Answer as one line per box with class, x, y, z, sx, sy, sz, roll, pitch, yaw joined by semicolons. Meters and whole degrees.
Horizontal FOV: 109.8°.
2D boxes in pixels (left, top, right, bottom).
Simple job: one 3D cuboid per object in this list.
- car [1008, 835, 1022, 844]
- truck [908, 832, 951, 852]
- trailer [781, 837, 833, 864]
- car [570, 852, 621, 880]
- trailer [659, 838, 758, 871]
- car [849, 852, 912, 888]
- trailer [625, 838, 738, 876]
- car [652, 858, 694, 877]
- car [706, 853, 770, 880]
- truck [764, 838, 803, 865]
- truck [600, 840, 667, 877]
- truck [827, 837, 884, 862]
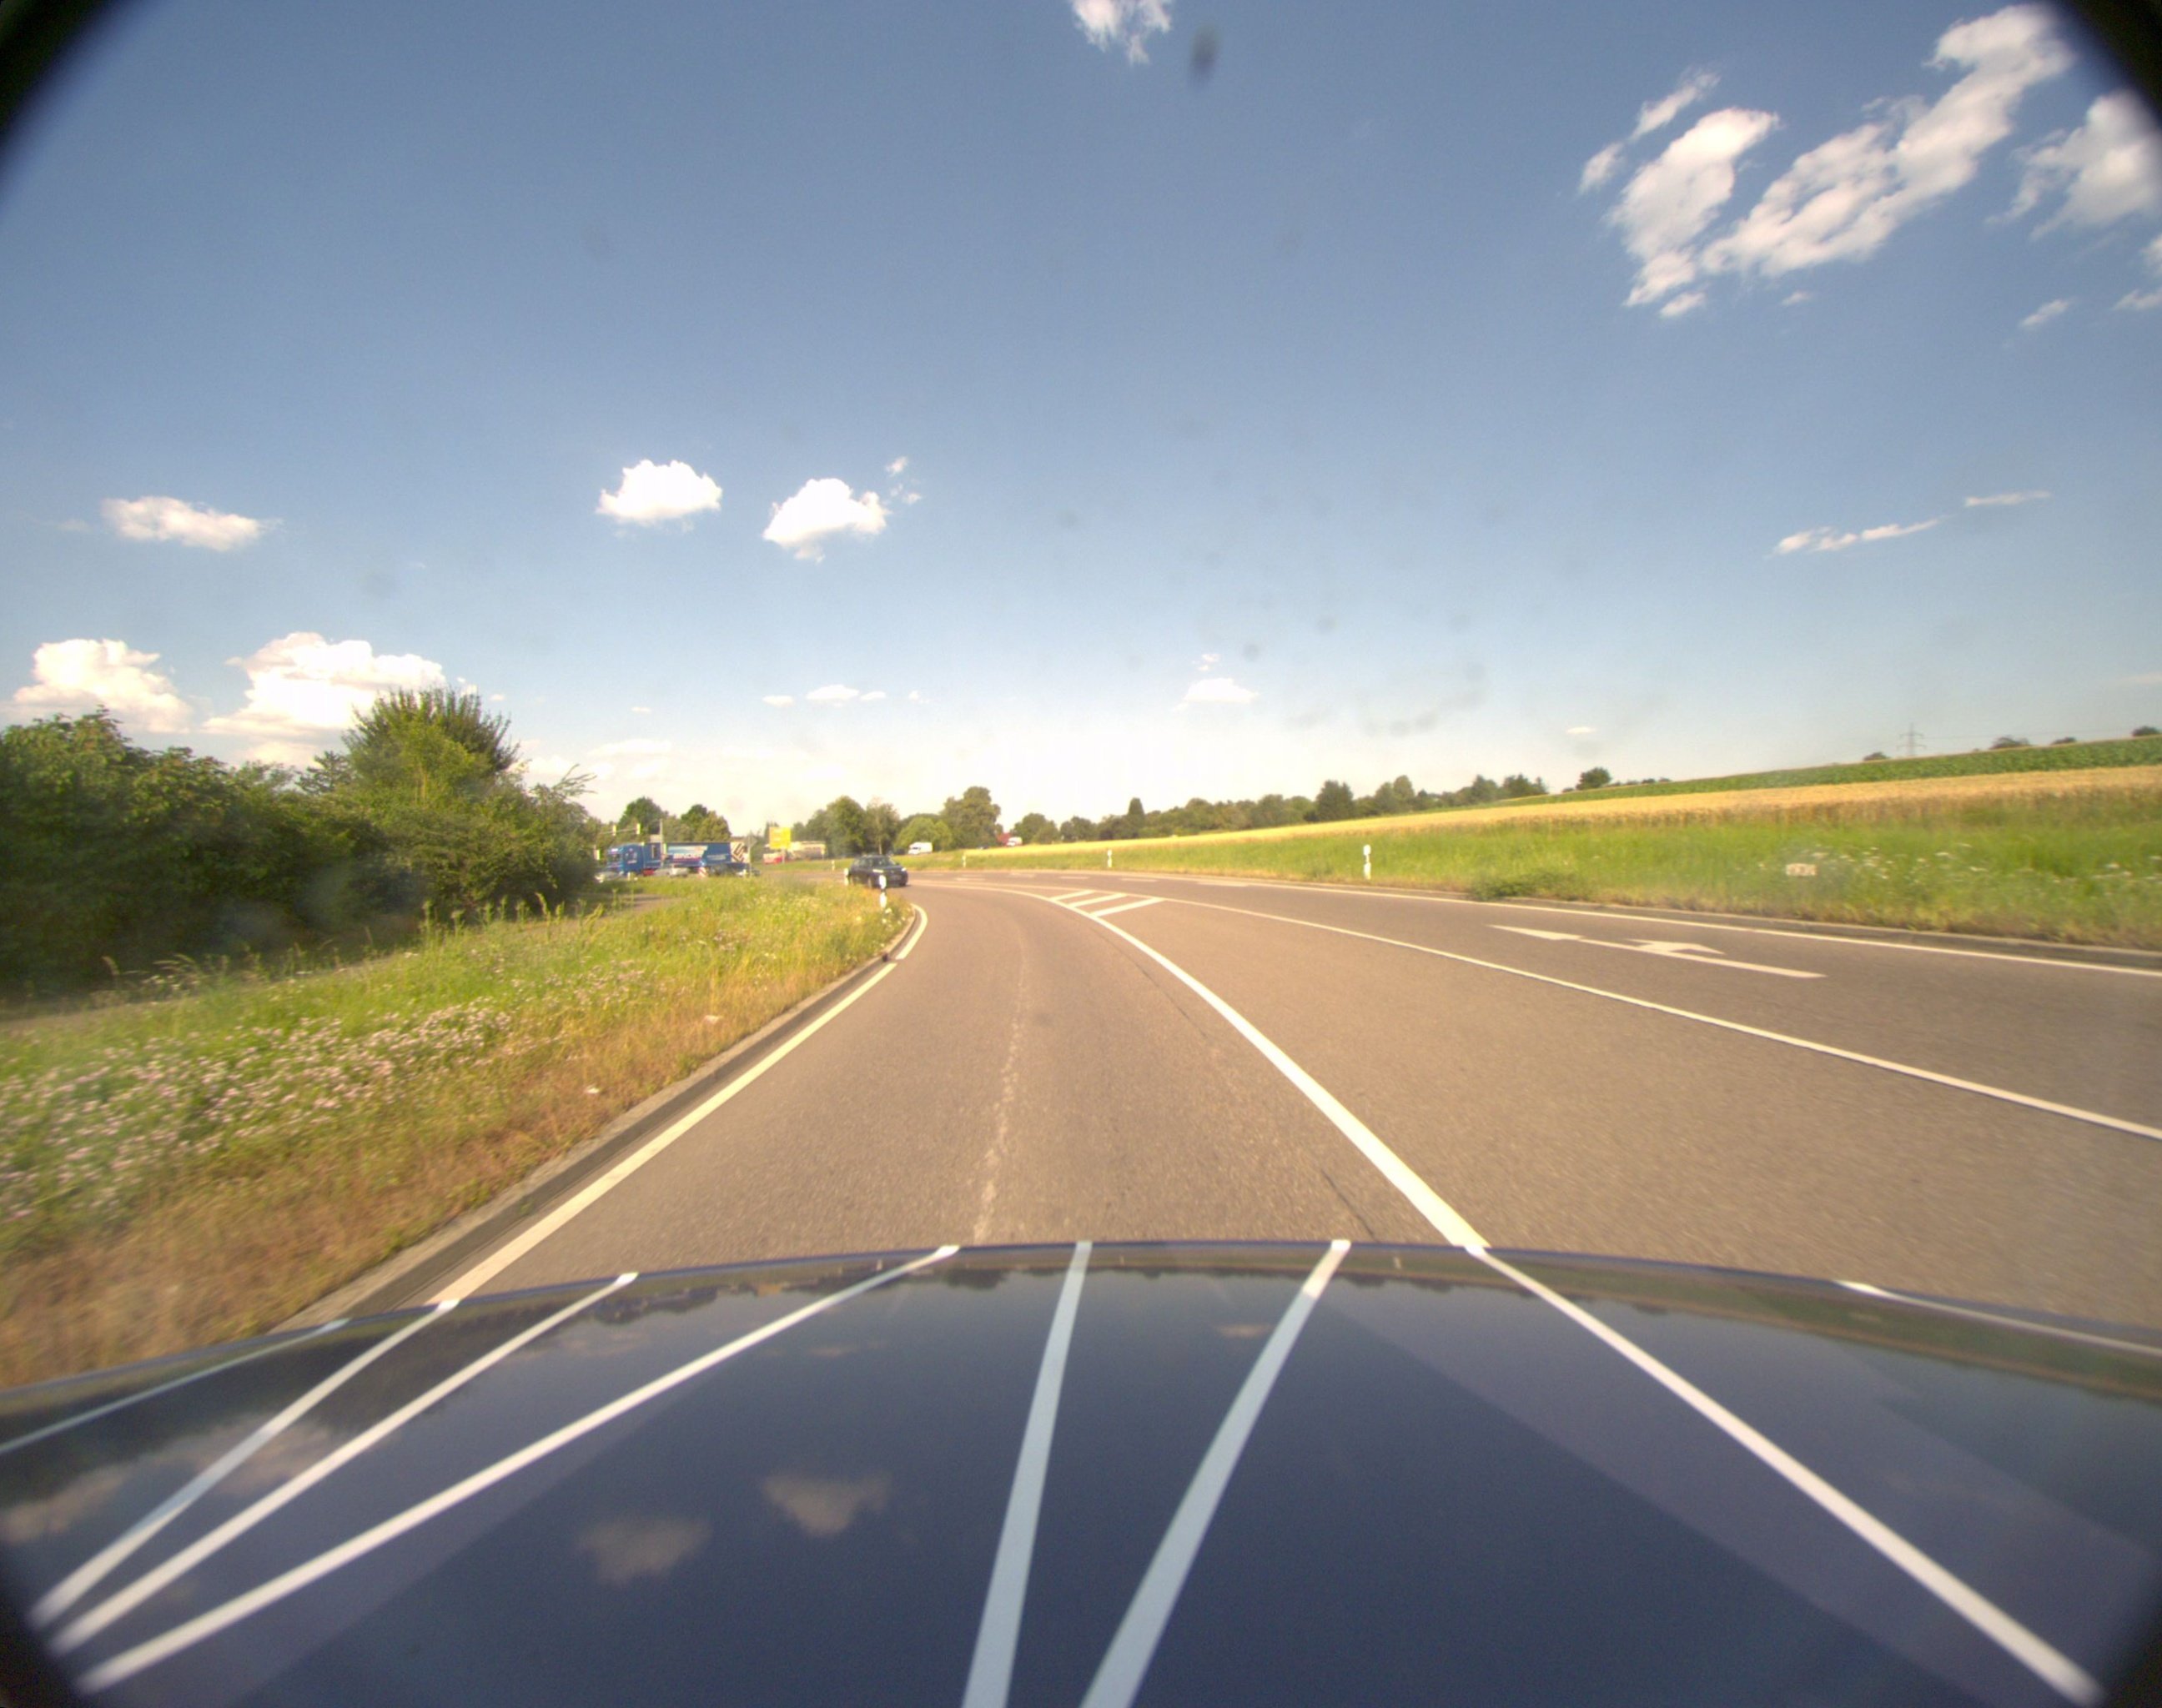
car;-17.402;-3.769;200.887;1.996;2.002;4.005;-8;0;22
truck;-31.759;-2.608;159.855;2.525;3.752;12.912;-3;2;19
trailer;-44.213;-0.638;122.936;2.261;3.756;9.534;-4;1;18
car;-38.879;0.959;60.760;4.360;1.938;1.911;-1;5;38
trailer;-50.536;-0.071;103.922;2.535;4.044;14.351;-3;1;19
car;-10.259;0.793;38.625;1.791;1.620;4.458;-4;2;-32
trailer;-49.740;0.190;95.480;3.412;3.982;13.763;-3;2;18
car;-40.418;1.373;75.253;4.342;1.519;1.823;-4;1;35
car;-23.211;0.833;51.361;4.535;1.604;1.779;-2;2;36
truck;-45.935;-0.422;117.461;2.258;3.784;5.691;-3;2;18
truck;-52.056;0.489;88.613;3.369;3.982;5.607;-3;2;18
truck;-40.038;-0.931;135.746;2.525;3.752;12.911;-4;1;19
